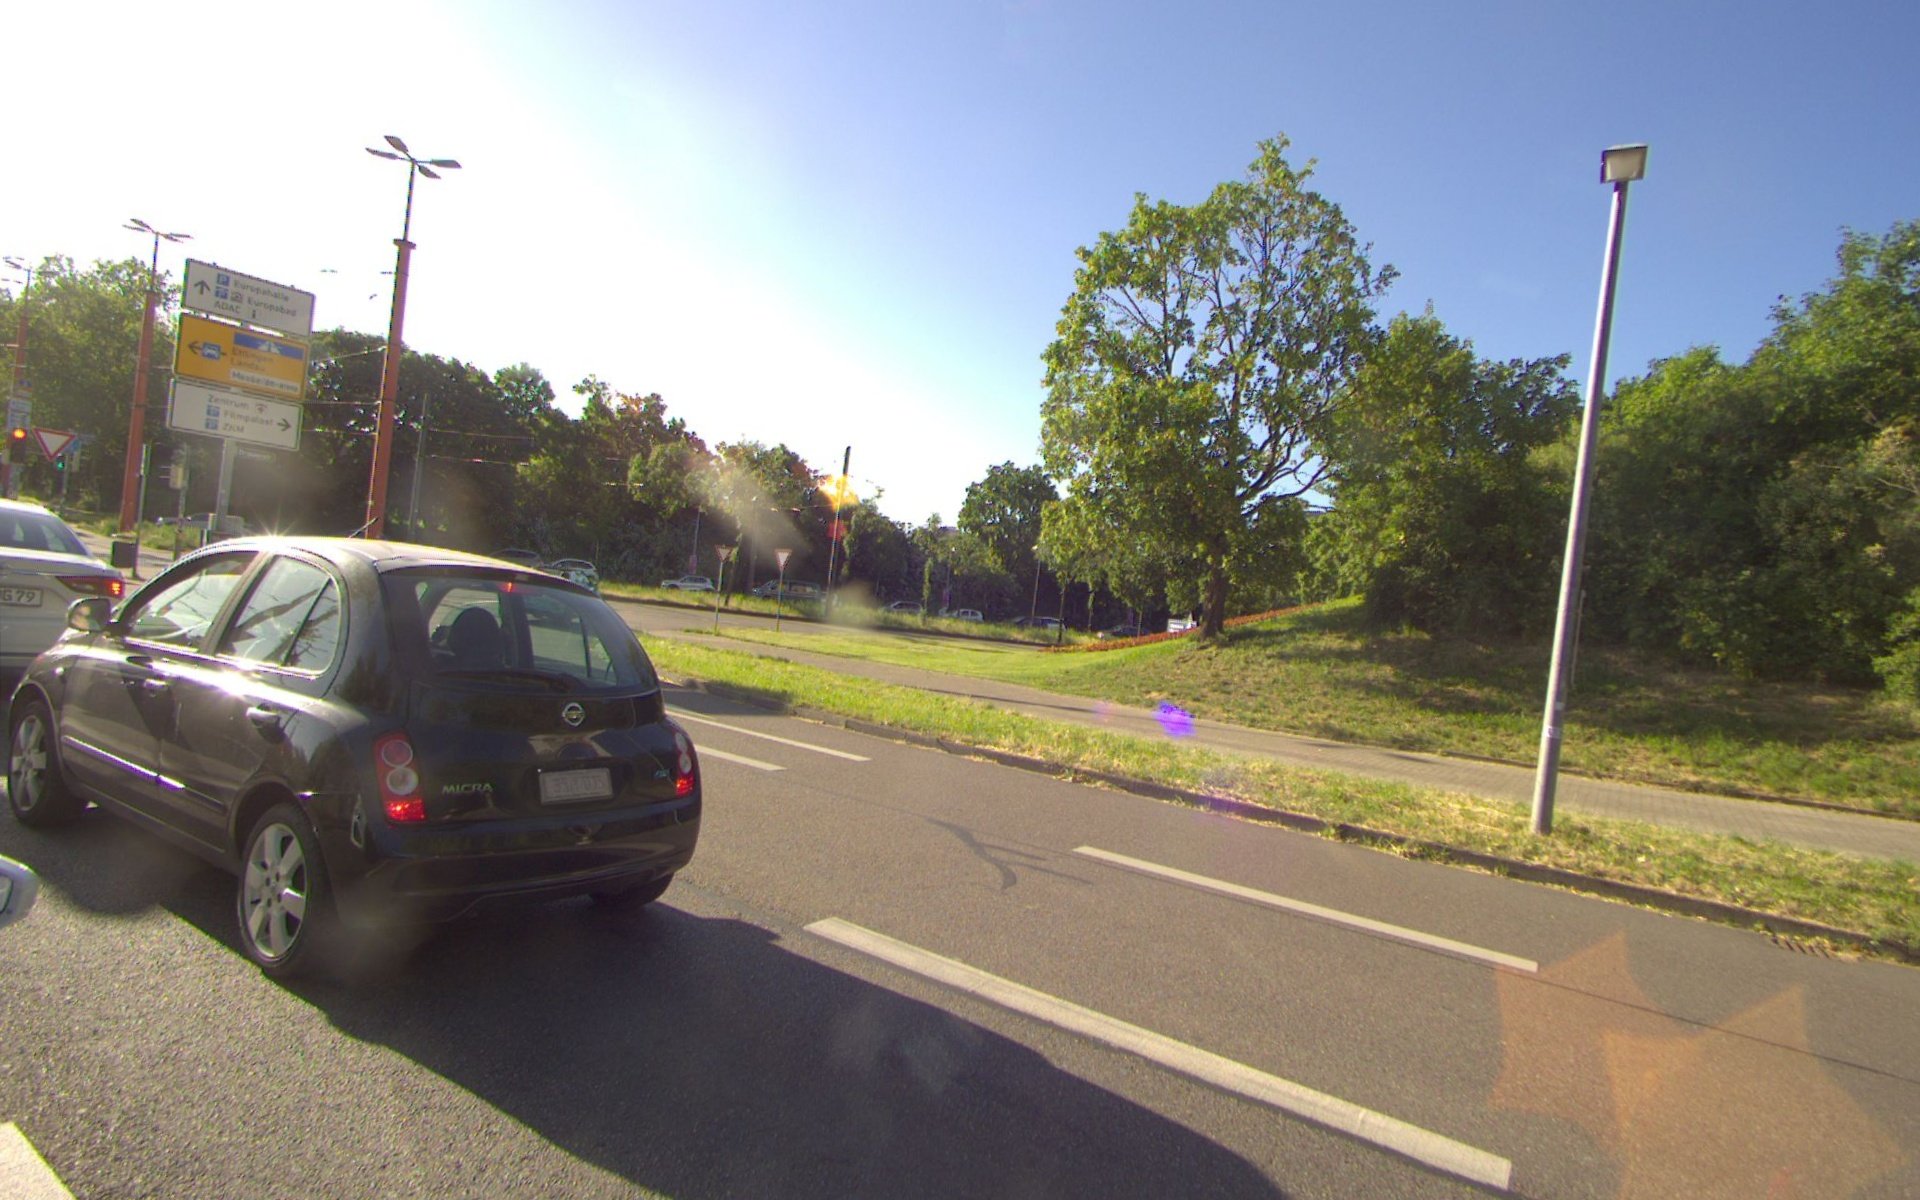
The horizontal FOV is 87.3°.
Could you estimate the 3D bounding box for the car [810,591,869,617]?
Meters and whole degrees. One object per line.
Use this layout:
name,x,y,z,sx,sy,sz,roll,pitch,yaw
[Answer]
car,-8.704,0.291,72.591,3.804,1.278,1.590,9,-3,-32

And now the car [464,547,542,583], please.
car,-28.003,-2.134,61.634,4.088,1.663,1.839,8,-1,-30

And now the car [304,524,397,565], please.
car,-32.678,-2.964,54.042,4.089,1.617,1.814,8,-1,-31

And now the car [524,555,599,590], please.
car,-23.613,-1.643,59.614,3.790,1.541,1.682,8,-1,-30

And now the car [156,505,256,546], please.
car,-39.846,-3.907,53.279,3.937,1.457,1.674,9,-2,-31

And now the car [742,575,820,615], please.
car,-11.886,-0.349,66.742,4.531,2.038,1.987,8,0,-27

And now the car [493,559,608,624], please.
car,-11.097,-0.208,27.543,1.709,1.468,4.128,6,-1,-6

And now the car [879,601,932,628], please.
car,-3.845,1.009,71.487,3.369,1.475,1.453,8,-1,-31

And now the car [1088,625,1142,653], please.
car,12.403,3.122,80.308,3.962,1.662,1.792,9,-2,-33

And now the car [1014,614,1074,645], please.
car,6.359,2.215,75.959,3.960,1.776,1.903,9,-2,-31

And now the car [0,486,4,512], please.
car,-46.526,-4.770,45.608,4.152,1.663,1.746,9,-2,-32

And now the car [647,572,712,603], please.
car,-18.479,-0.815,66.211,3.710,1.491,1.587,8,-1,-32

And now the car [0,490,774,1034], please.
car,-2.839,0.469,4.709,3.555,1.518,1.657,7,-2,32

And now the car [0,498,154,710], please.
car,-8.352,-0.172,8.020,4.130,1.454,1.723,7,-2,33

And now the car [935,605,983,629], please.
car,-0.068,1.320,77.343,3.413,1.384,1.280,9,-2,-31

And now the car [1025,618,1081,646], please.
car,7.561,2.602,81.806,4.195,1.701,1.690,8,-1,-29
